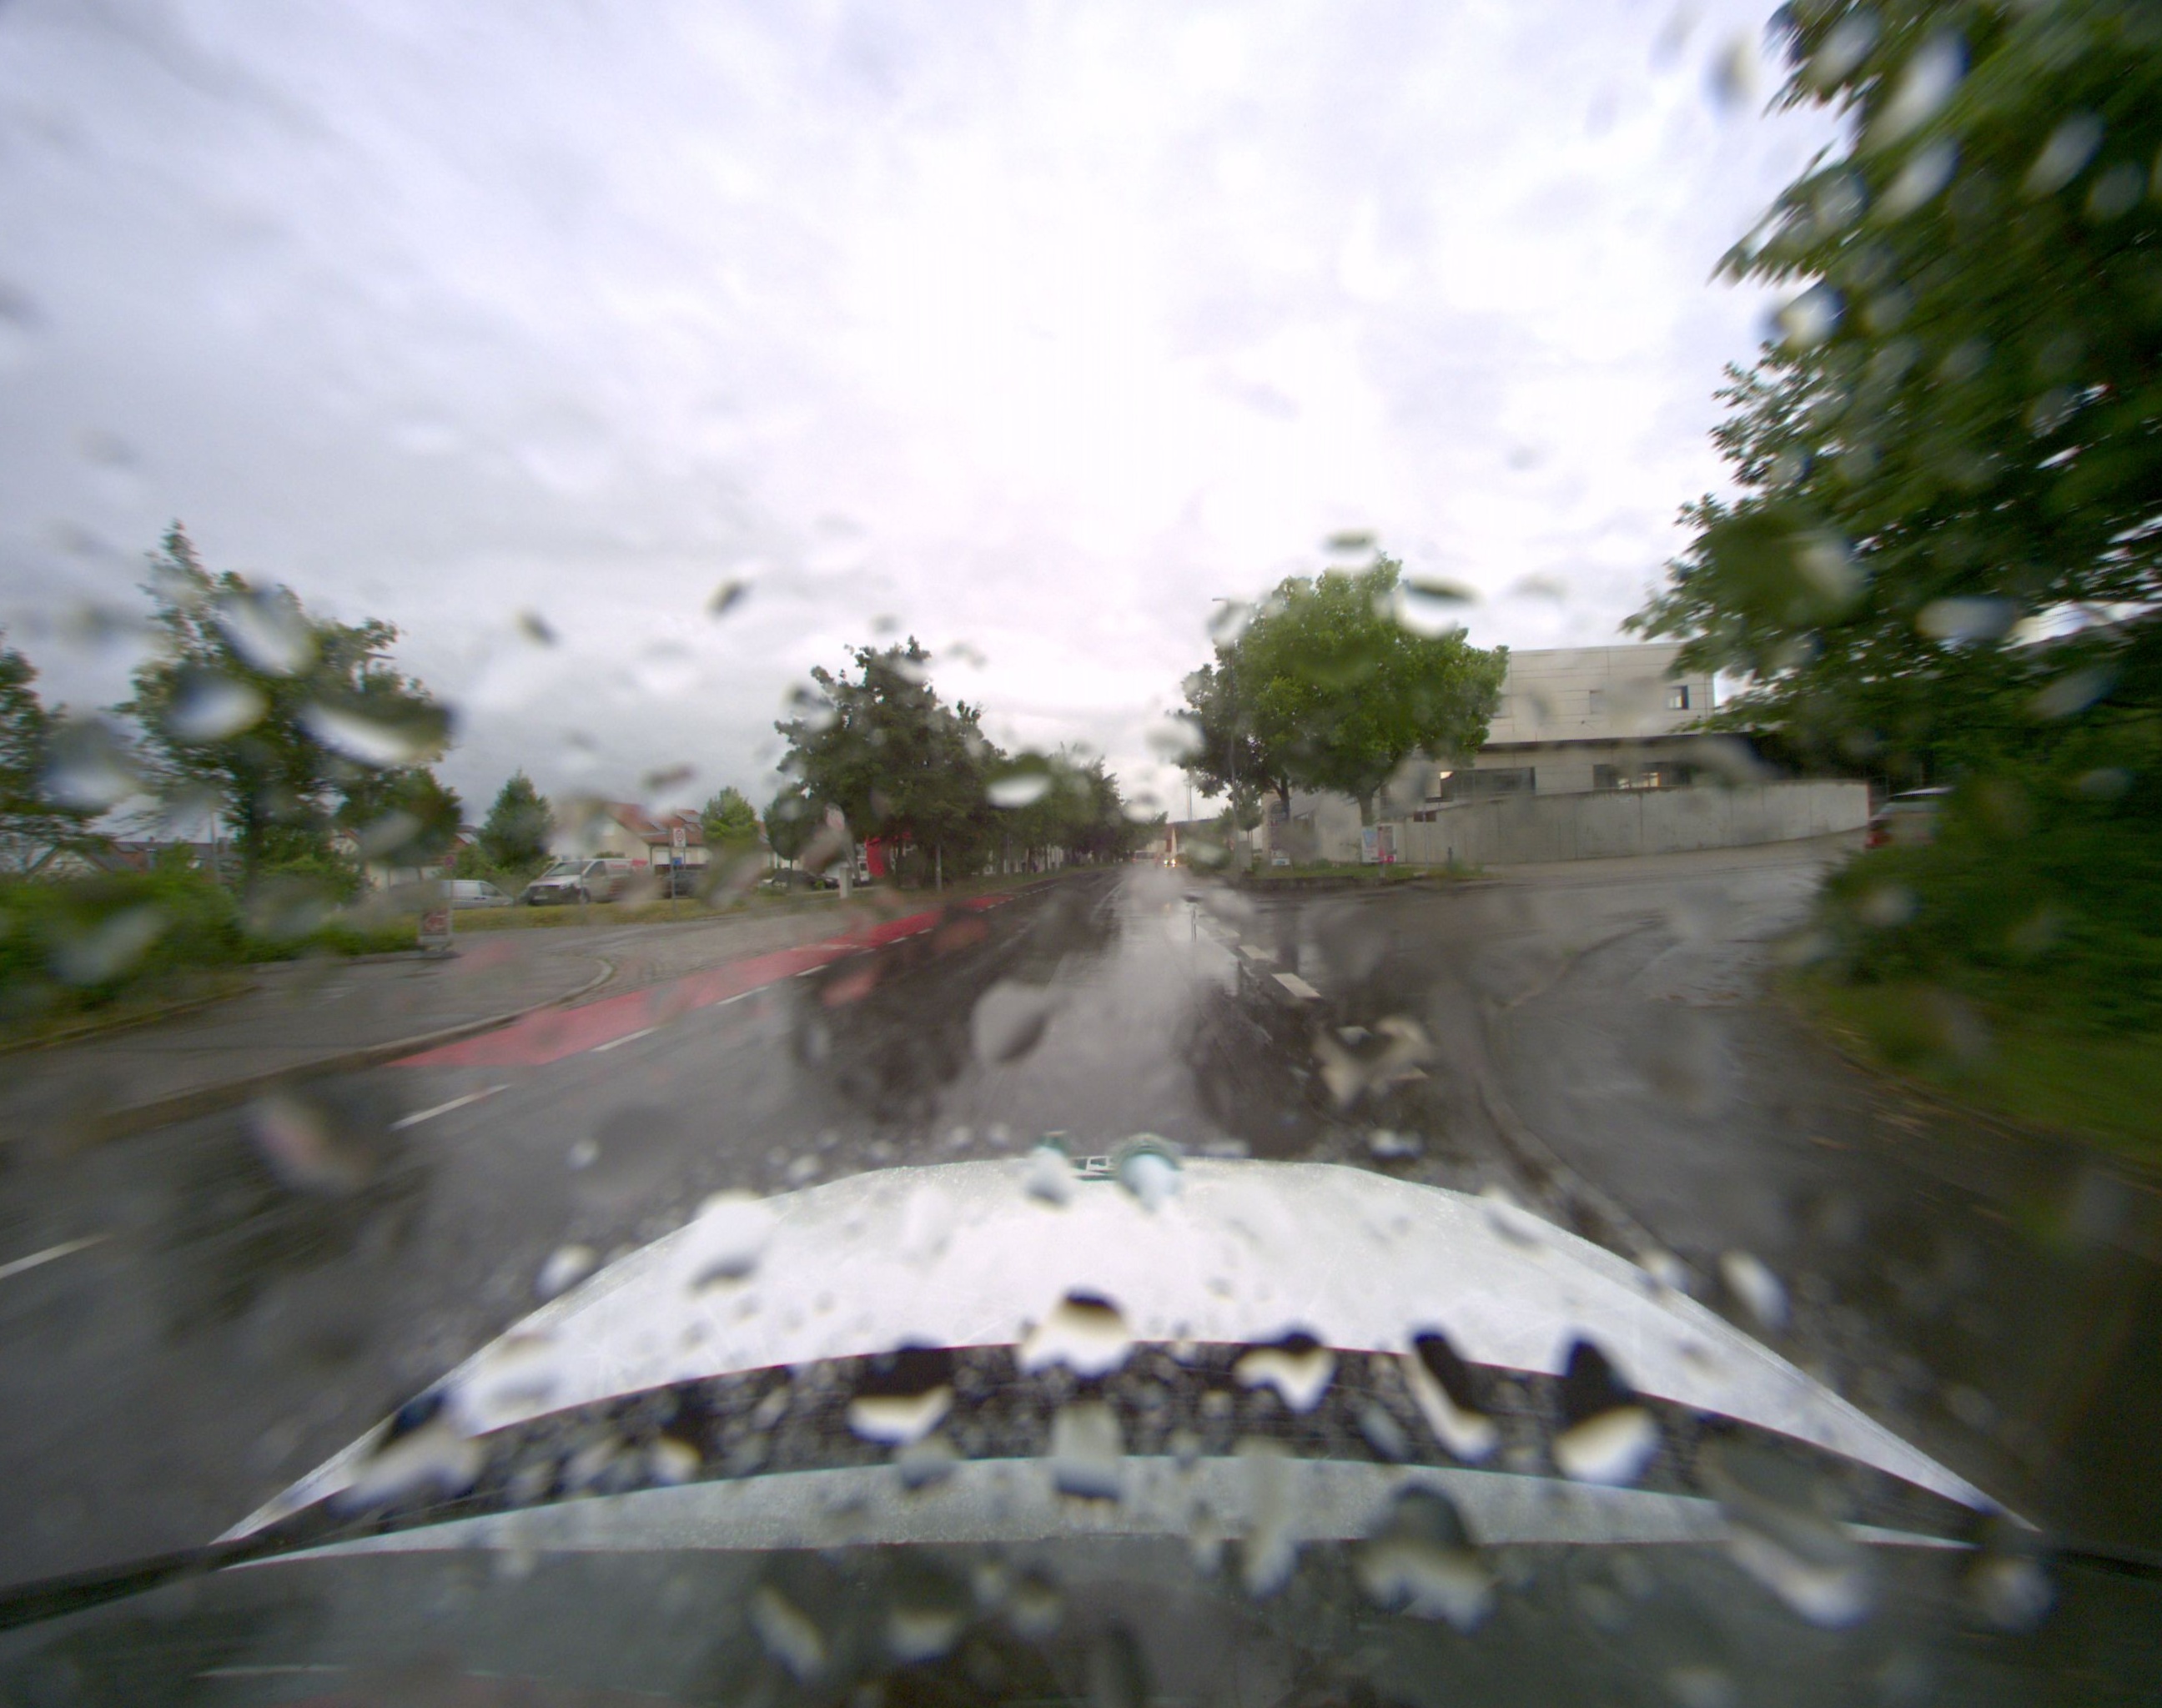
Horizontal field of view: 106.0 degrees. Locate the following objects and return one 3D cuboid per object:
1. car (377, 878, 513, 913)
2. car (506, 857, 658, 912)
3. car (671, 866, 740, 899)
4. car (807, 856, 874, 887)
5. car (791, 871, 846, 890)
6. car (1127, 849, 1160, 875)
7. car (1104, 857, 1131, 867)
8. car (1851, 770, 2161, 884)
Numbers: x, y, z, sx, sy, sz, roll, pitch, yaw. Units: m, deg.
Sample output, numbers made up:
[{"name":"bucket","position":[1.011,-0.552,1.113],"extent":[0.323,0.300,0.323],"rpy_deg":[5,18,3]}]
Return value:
[{"name":"car","position":[-27.499,1.754,35.461],"extent":[1.971,1.230,4.665],"rpy_deg":[-1,1,5]},{"name":"car","position":[-18.888,1.067,31.263],"extent":[2.024,1.822,5.615],"rpy_deg":[-1,1,4]},{"name":"car","position":[-20.425,1.513,44.499],"extent":[2.111,1.556,4.159],"rpy_deg":[-1,1,-5]},{"name":"car","position":[-18.815,1.379,63.822],"extent":[4.451,2.310,2.190],"rpy_deg":[-1,0,8]},{"name":"car","position":[-18.958,1.895,58.844],"extent":[3.387,1.244,1.706],"rpy_deg":[-1,0,2]},{"name":"car","position":[4.683,0.560,61.550],"extent":[2.110,1.888,4.502],"rpy_deg":[-1,1,1]},{"name":"car","position":[5.477,1.143,121.526],"extent":[3.877,1.284,1.586],"rpy_deg":[-3,-2,8]},{"name":"car","position":[15.459,-0.446,13.289],"extent":[3.859,1.499,1.772],"rpy_deg":[-4,0,7]}]
